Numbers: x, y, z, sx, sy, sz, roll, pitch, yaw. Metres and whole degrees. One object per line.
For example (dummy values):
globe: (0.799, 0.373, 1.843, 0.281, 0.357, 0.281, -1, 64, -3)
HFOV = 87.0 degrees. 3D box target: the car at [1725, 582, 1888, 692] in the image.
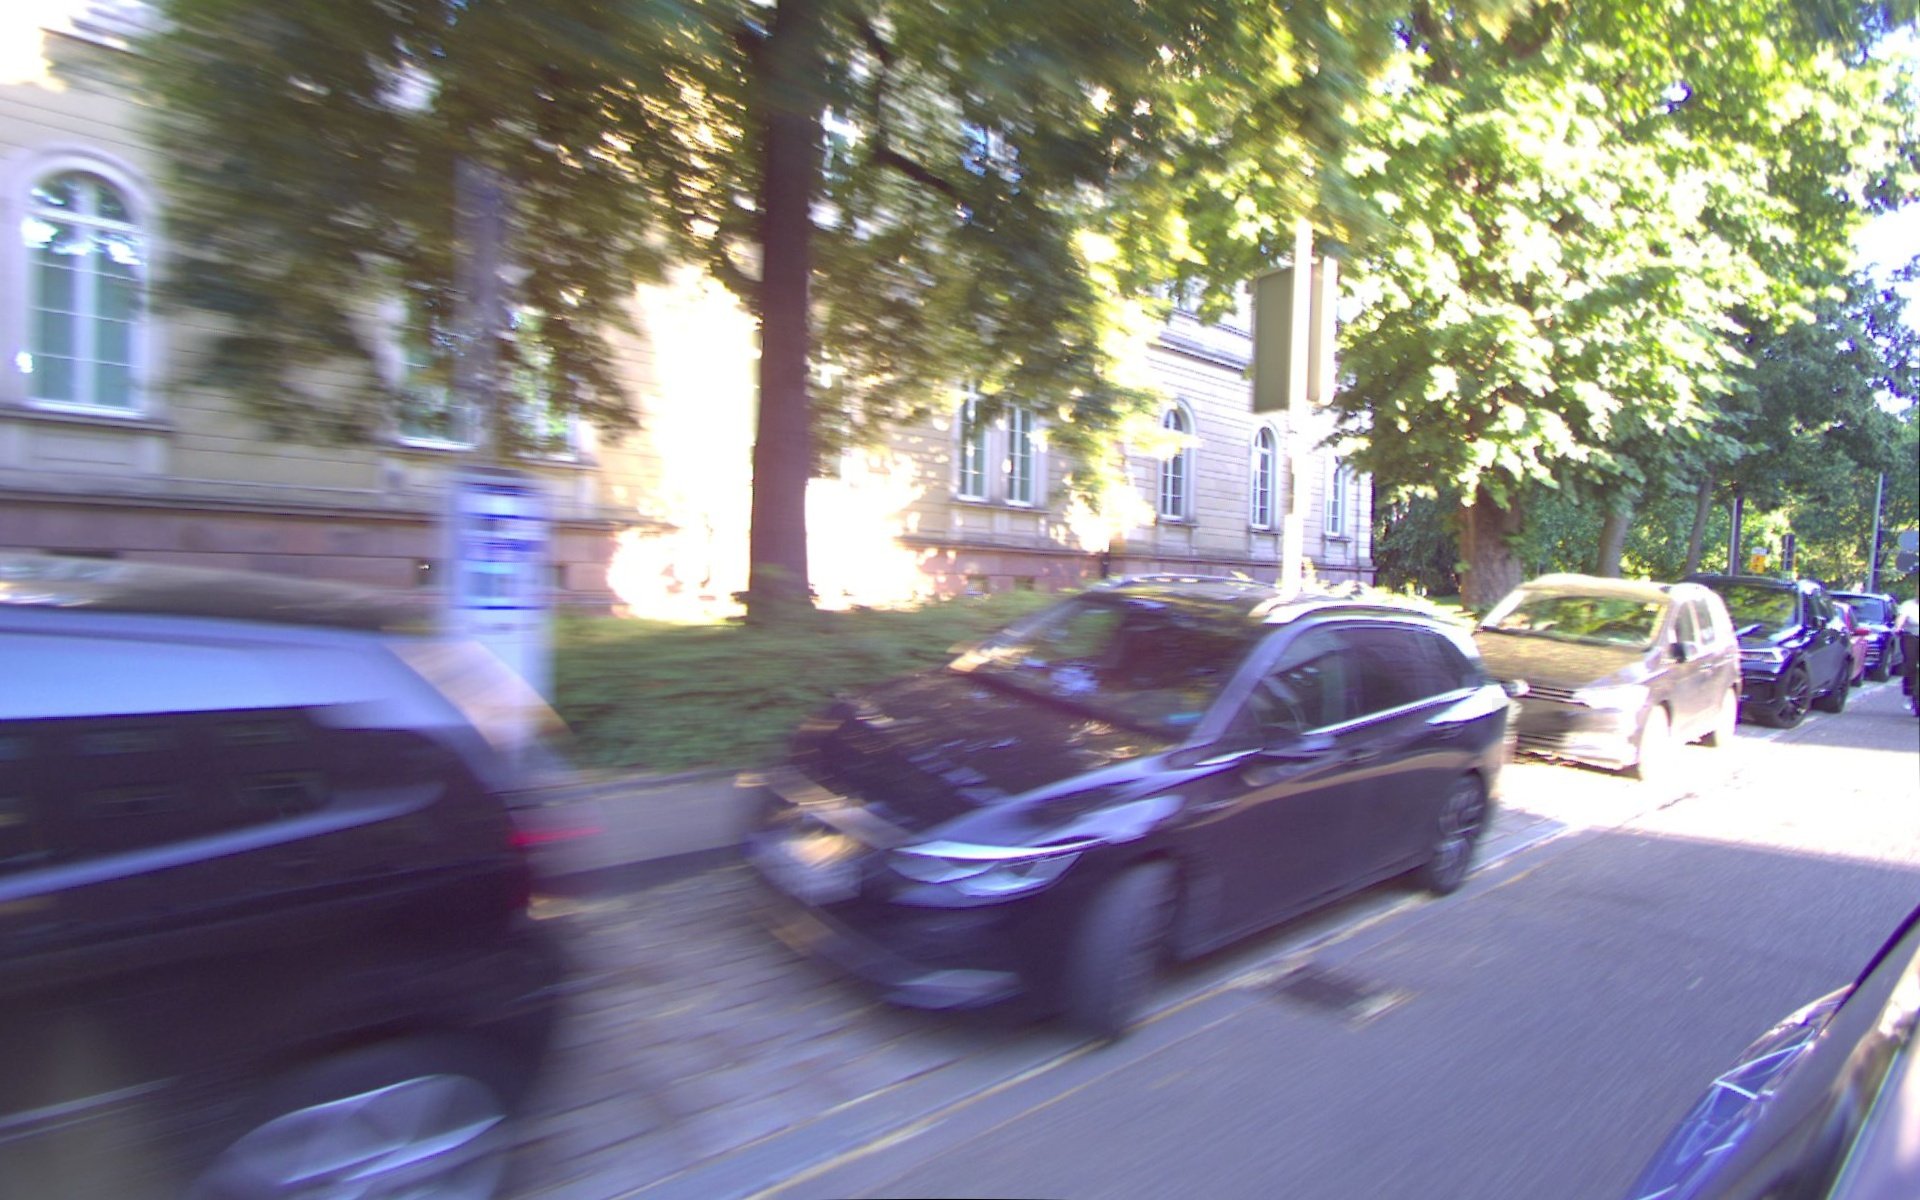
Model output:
car: (14.576, 0.527, 17.353, 3.904, 1.608, 1.725, -1, 3, -44)

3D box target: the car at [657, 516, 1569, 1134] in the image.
car: (1.100, 0.518, 4.810, 4.544, 1.551, 1.728, -1, 7, -42)

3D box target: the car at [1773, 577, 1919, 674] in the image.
car: (18.270, 0.414, 20.645, 4.615, 1.708, 1.885, -1, 3, -42)

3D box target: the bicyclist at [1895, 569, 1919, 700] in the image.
bicyclist: (12.447, 0.438, 12.847, 1.021, 1.632, 0.752, 1, 1, -44)

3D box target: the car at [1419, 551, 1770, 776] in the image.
car: (6.289, 0.420, 9.801, 4.423, 1.703, 1.727, -1, 3, -42)

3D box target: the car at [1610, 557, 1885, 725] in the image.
car: (10.536, 0.392, 13.397, 4.859, 1.835, 1.809, -1, 3, -39)

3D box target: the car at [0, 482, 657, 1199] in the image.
car: (-2.821, 0.548, 1.603, 4.114, 1.551, 1.729, -1, 6, -39)

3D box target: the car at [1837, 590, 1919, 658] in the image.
car: (22.810, 0.530, 24.742, 3.935, 1.456, 1.725, -1, 3, -44)

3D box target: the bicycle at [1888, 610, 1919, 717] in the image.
bicycle: (12.407, 0.786, 12.856, 2.173, 1.268, 0.752, 0, 2, -44)
